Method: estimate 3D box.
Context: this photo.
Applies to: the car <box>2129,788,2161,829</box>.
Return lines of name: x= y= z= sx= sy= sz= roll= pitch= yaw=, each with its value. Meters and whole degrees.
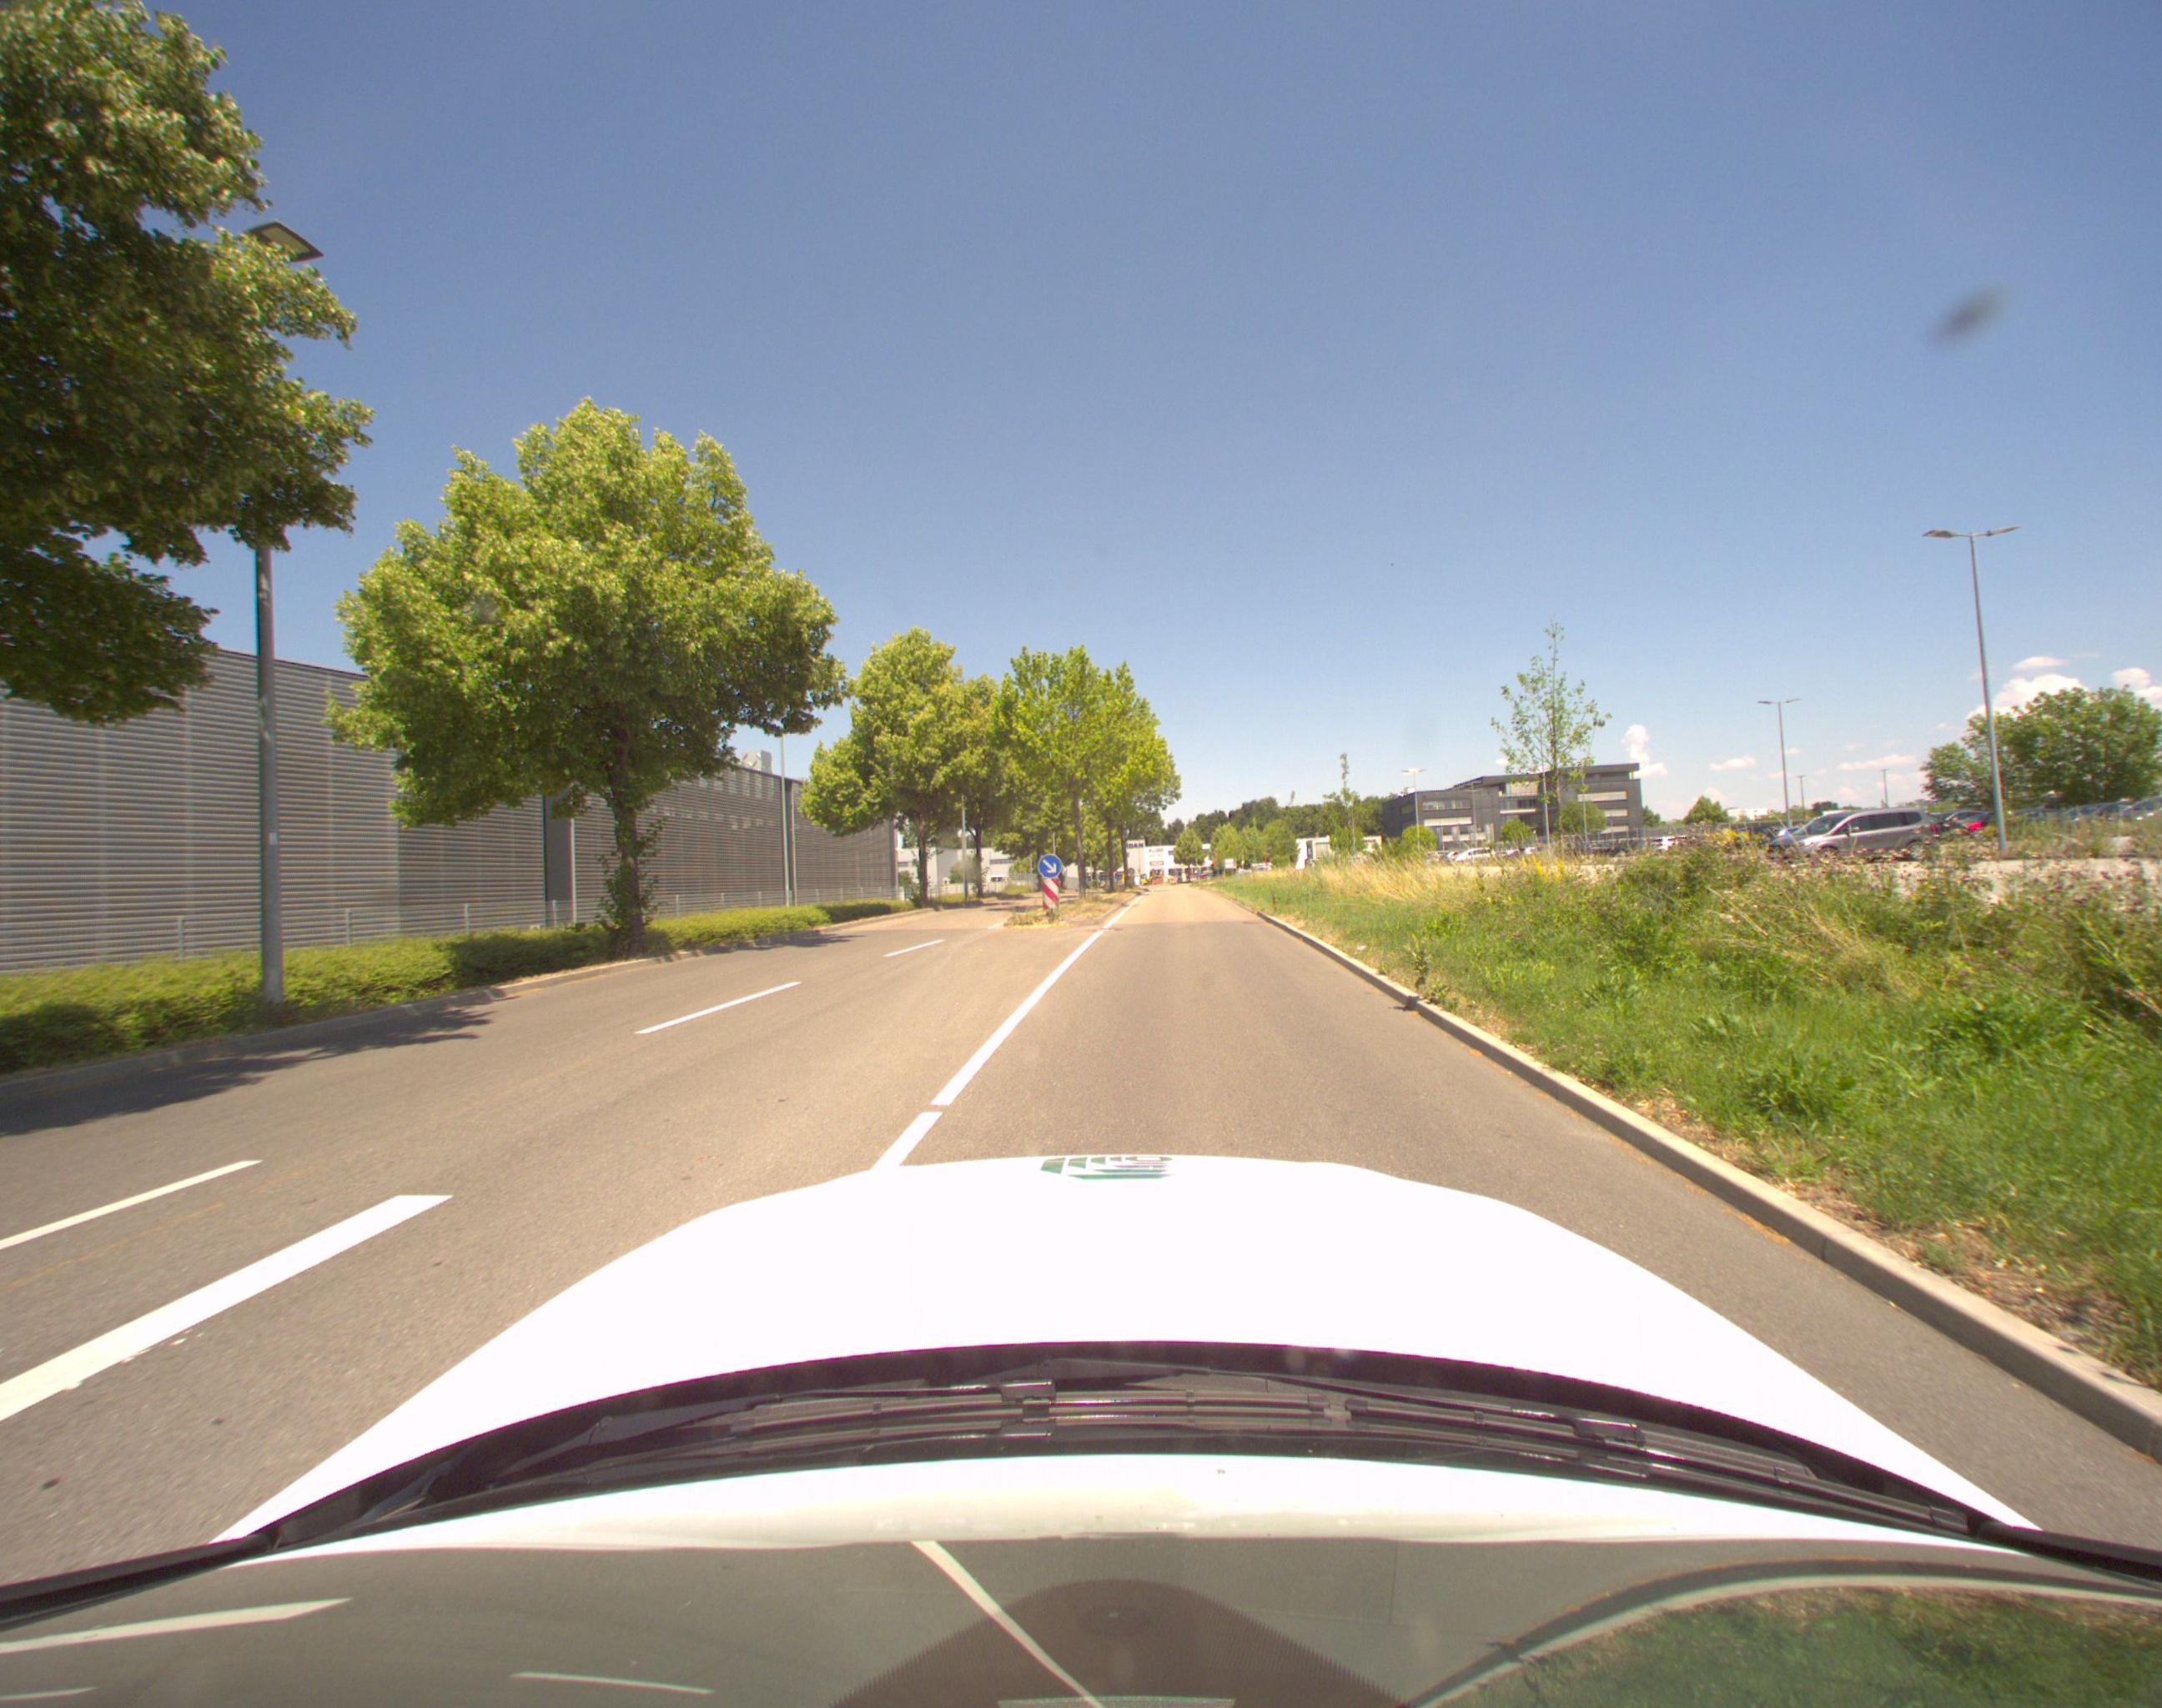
car: x=47.433 y=-2.050 z=34.409 sx=3.981 sy=1.639 sz=1.996 roll=-5 pitch=1 yaw=-6

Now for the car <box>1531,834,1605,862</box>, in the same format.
car: x=34.124 y=-0.408 z=57.172 sx=3.967 sy=1.641 sz=1.930 roll=-4 pitch=-2 yaw=5

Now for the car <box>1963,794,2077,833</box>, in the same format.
car: x=49.241 y=-2.115 z=42.759 sx=3.983 sy=1.639 sz=1.996 roll=-5 pitch=1 yaw=-7

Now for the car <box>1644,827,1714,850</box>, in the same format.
car: x=45.480 y=-1.155 z=61.968 sx=3.973 sy=1.341 sz=1.696 roll=-4 pitch=-3 yaw=1

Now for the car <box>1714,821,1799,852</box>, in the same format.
car: x=43.821 y=-1.136 z=52.881 sx=3.983 sy=1.639 sz=1.996 roll=-5 pitch=1 yaw=-7

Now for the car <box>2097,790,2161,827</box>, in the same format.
car: x=49.157 y=-2.139 z=37.104 sx=3.983 sy=1.420 sz=1.717 roll=-5 pitch=1 yaw=-7

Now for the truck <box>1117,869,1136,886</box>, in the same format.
truck: x=9.052 y=4.591 z=162.009 sx=2.932 sy=2.885 sz=5.804 roll=-5 pitch=1 yaw=-3

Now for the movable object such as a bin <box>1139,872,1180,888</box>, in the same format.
movable object such as a bin: x=15.694 y=5.181 z=161.923 sx=7.473 sy=2.499 sz=3.680 roll=-4 pitch=1 yaw=13

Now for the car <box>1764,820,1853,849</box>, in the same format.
car: x=44.152 y=-1.180 z=49.494 sx=3.782 sy=1.464 sz=1.735 roll=-5 pitch=1 yaw=1

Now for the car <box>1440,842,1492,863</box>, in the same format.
car: x=36.186 y=-0.172 z=76.657 sx=3.971 sy=1.595 sz=1.770 roll=-5 pitch=1 yaw=2

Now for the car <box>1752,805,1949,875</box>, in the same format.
car: x=25.506 y=-0.436 z=27.138 sx=4.443 sy=1.914 sz=1.942 roll=-5 pitch=-1 yaw=4
